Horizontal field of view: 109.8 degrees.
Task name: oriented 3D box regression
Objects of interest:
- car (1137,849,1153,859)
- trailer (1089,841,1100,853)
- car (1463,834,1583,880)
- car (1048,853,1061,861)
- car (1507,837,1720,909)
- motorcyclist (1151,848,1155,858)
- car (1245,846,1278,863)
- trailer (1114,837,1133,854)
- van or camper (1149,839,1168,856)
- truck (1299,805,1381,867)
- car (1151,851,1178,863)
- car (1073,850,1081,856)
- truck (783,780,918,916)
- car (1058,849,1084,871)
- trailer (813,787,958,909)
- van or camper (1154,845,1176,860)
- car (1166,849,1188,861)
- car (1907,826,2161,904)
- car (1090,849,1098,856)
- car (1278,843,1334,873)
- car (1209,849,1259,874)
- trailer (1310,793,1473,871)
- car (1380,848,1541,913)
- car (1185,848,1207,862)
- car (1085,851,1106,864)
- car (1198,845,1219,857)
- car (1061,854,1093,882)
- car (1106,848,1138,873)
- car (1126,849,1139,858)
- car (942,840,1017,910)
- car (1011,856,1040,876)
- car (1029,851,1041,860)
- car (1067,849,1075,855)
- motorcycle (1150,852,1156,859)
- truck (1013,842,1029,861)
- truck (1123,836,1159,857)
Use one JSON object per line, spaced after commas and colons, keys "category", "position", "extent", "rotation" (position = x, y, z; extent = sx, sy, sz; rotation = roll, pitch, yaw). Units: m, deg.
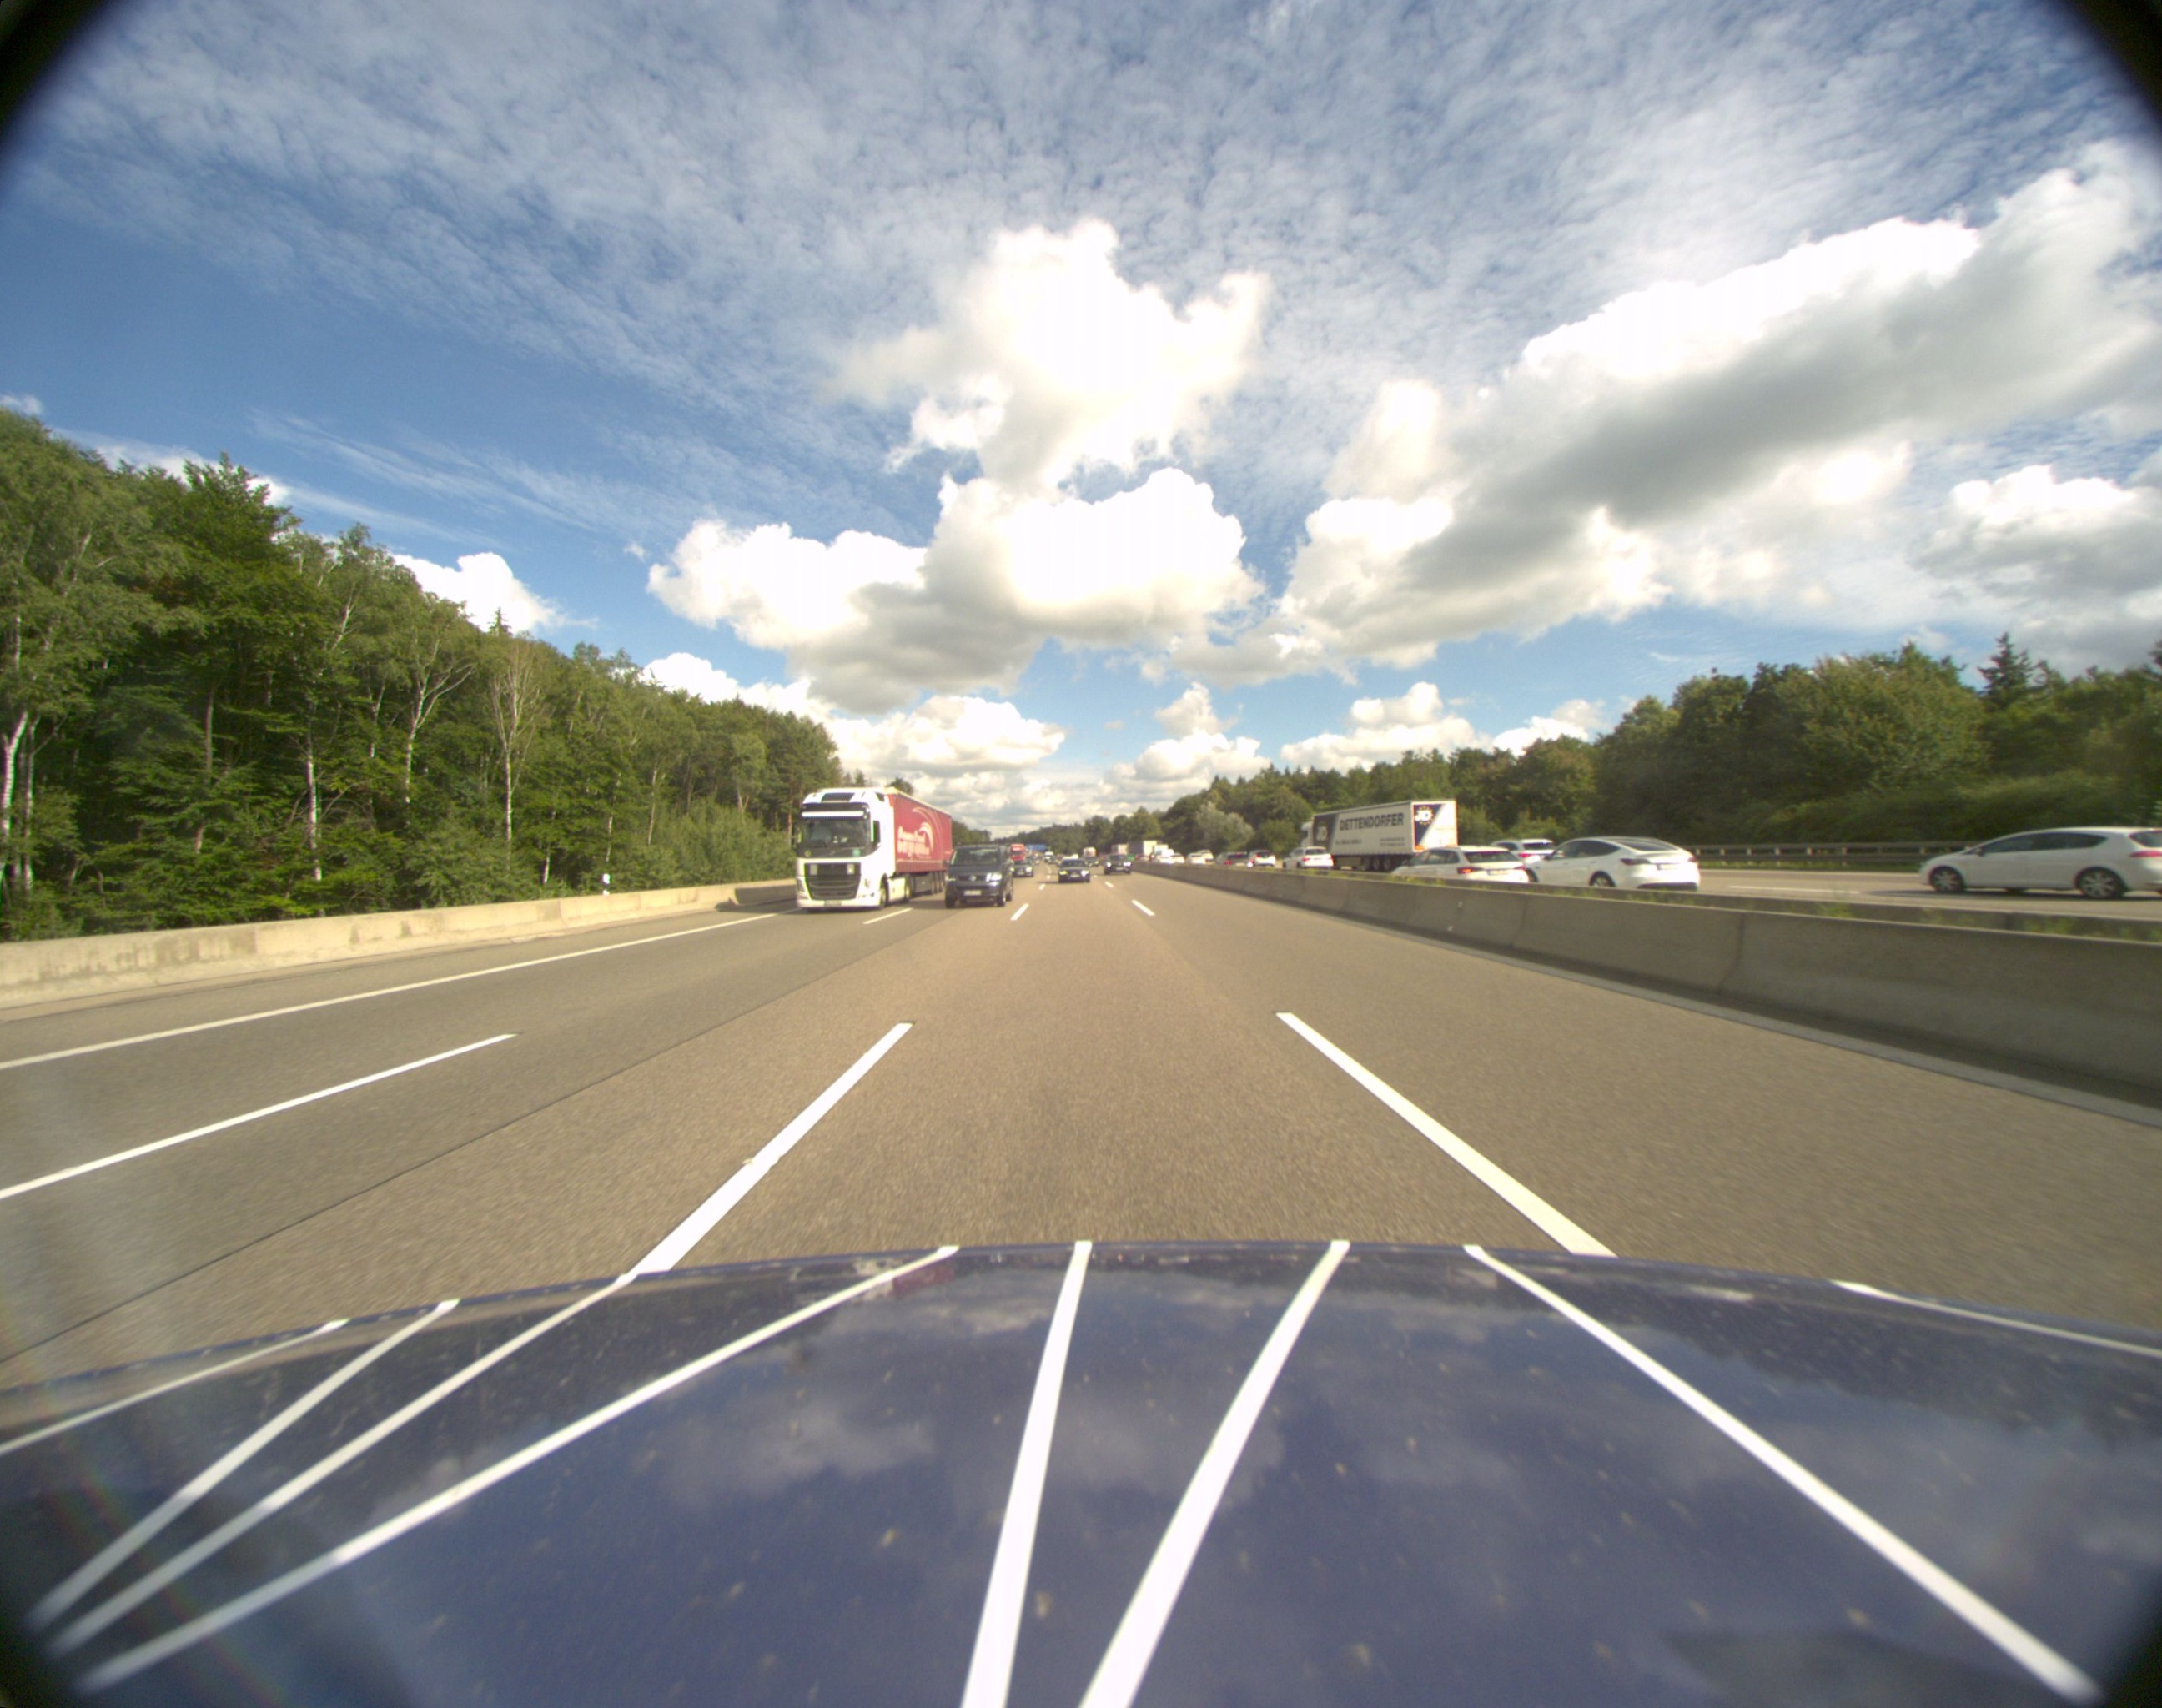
{"category": "car", "position": [10.575, 0.000, 125.945], "extent": [2.177, 1.462, 4.785], "rotation": [-2, 0, -1]}
{"category": "trailer", "position": [4.476, -2.373, 255.443], "extent": [2.796, 3.922, 12.247], "rotation": [-2, 0, -4]}
{"category": "car", "position": [17.469, 0.103, 30.368], "extent": [1.798, 1.608, 5.044], "rotation": [-2, 0, -1]}
{"category": "car", "position": [-5.209, 0.548, 147.471], "extent": [2.154, 1.540, 4.674], "rotation": [-2, 0, -5]}
{"category": "car", "position": [13.231, 0.419, 19.381], "extent": [1.862, 1.516, 4.994], "rotation": [-2, 0, -1]}
{"category": "motorcyclist", "position": [11.368, -0.160, 119.853], "extent": [0.604, 1.467, 0.532], "rotation": [-2, 1, -3]}
{"category": "car", "position": [16.215, 0.057, 68.644], "extent": [1.816, 1.444, 4.800], "rotation": [-2, 0, 0]}
{"category": "trailer", "position": [10.172, -1.947, 183.154], "extent": [2.976, 3.835, 11.275], "rotation": [-2, 0, -4]}
{"category": "van or camper", "position": [13.368, -1.115, 131.209], "extent": [2.380, 2.875, 6.504], "rotation": [0, 0, -3]}
{"category": "truck", "position": [18.381, -1.230, 54.444], "extent": [3.327, 4.083, 6.222], "rotation": [-2, 1, -4]}
{"category": "car", "position": [8.426, 0.308, 77.234], "extent": [1.816, 1.154, 4.512], "rotation": [-2, 0, -5]}
{"category": "car", "position": [-1.190, -0.332, 227.968], "extent": [1.854, 1.867, 4.613], "rotation": [-2, 0, -5]}
{"category": "truck", "position": [-7.572, -0.185, 25.861], "extent": [2.781, 4.022, 5.772], "rotation": [-2, 0, -1]}
{"category": "car", "position": [-0.828, 0.515, 66.914], "extent": [2.153, 1.800, 5.098], "rotation": [-2, 1, 0]}
{"category": "trailer", "position": [-7.678, -0.225, 32.394], "extent": [2.781, 4.021, 13.710], "rotation": [-2, 0, -1]}
{"category": "van or camper", "position": [11.751, -0.232, 106.771], "extent": [1.999, 1.926, 5.455], "rotation": [-2, 0, -5]}
{"category": "car", "position": [11.649, 0.111, 92.228], "extent": [1.774, 1.386, 4.689], "rotation": [-2, 0, -3]}
{"category": "car", "position": [20.746, 0.180, 16.177], "extent": [1.629, 1.418, 4.284], "rotation": [-2, 0, -1]}
{"category": "car", "position": [3.851, -0.450, 222.757], "extent": [1.854, 1.867, 4.613], "rotation": [-2, 0, -5]}
{"category": "car", "position": [13.243, 0.219, 45.084], "extent": [1.713, 1.584, 4.942], "rotation": [-2, 0, -1]}
{"category": "car", "position": [9.177, 0.399, 45.975], "extent": [1.999, 1.354, 4.619], "rotation": [-2, 0, -1]}
{"category": "trailer", "position": [18.929, -1.214, 48.094], "extent": [3.327, 4.083, 14.147], "rotation": [-2, 0, -5]}
{"category": "car", "position": [9.695, 0.594, 19.934], "extent": [1.774, 1.433, 4.850], "rotation": [-2, 0, 0]}
{"category": "car", "position": [12.376, 0.115, 81.896], "extent": [1.685, 1.389, 4.715], "rotation": [-2, 0, 1]}
{"category": "car", "position": [1.828, 0.441, 95.747], "extent": [2.153, 1.540, 4.675], "rotation": [-2, 0, -4]}
{"category": "car", "position": [18.941, -0.399, 113.017], "extent": [2.177, 1.674, 4.785], "rotation": [-2, 0, -1]}
{"category": "car", "position": [-0.220, 0.782, 44.654], "extent": [1.733, 1.500, 4.727], "rotation": [-2, 0, 0]}
{"category": "car", "position": [3.122, 0.465, 59.385], "extent": [2.153, 1.800, 5.098], "rotation": [-2, 1, 0]}
{"category": "car", "position": [9.418, -0.092, 139.417], "extent": [1.788, 1.462, 4.329], "rotation": [0, 0, -2]}
{"category": "car", "position": [-3.309, 0.636, 25.712], "extent": [1.854, 2.097, 4.931], "rotation": [-2, 0, -1]}
{"category": "car", "position": [-4.424, 0.882, 60.075], "extent": [2.154, 1.426, 5.096], "rotation": [-2, 0, -5]}
{"category": "car", "position": [-8.662, 0.305, 142.025], "extent": [2.153, 1.540, 4.675], "rotation": [-2, 0, -4]}
{"category": "car", "position": [-3.142, -0.692, 247.550], "extent": [2.161, 1.690, 5.348], "rotation": [-2, 0, -5]}
{"category": "motorcycle", "position": [11.368, 0.184, 119.897], "extent": [0.611, 1.034, 2.174], "rotation": [-2, 0, -3]}
{"category": "truck", "position": [-12.560, -0.515, 158.624], "extent": [3.019, 3.662, 7.557], "rotation": [-1, 0, -5]}
{"category": "truck", "position": [11.958, -1.468, 153.473], "extent": [2.830, 4.070, 13.827], "rotation": [-2, 0, -14]}
